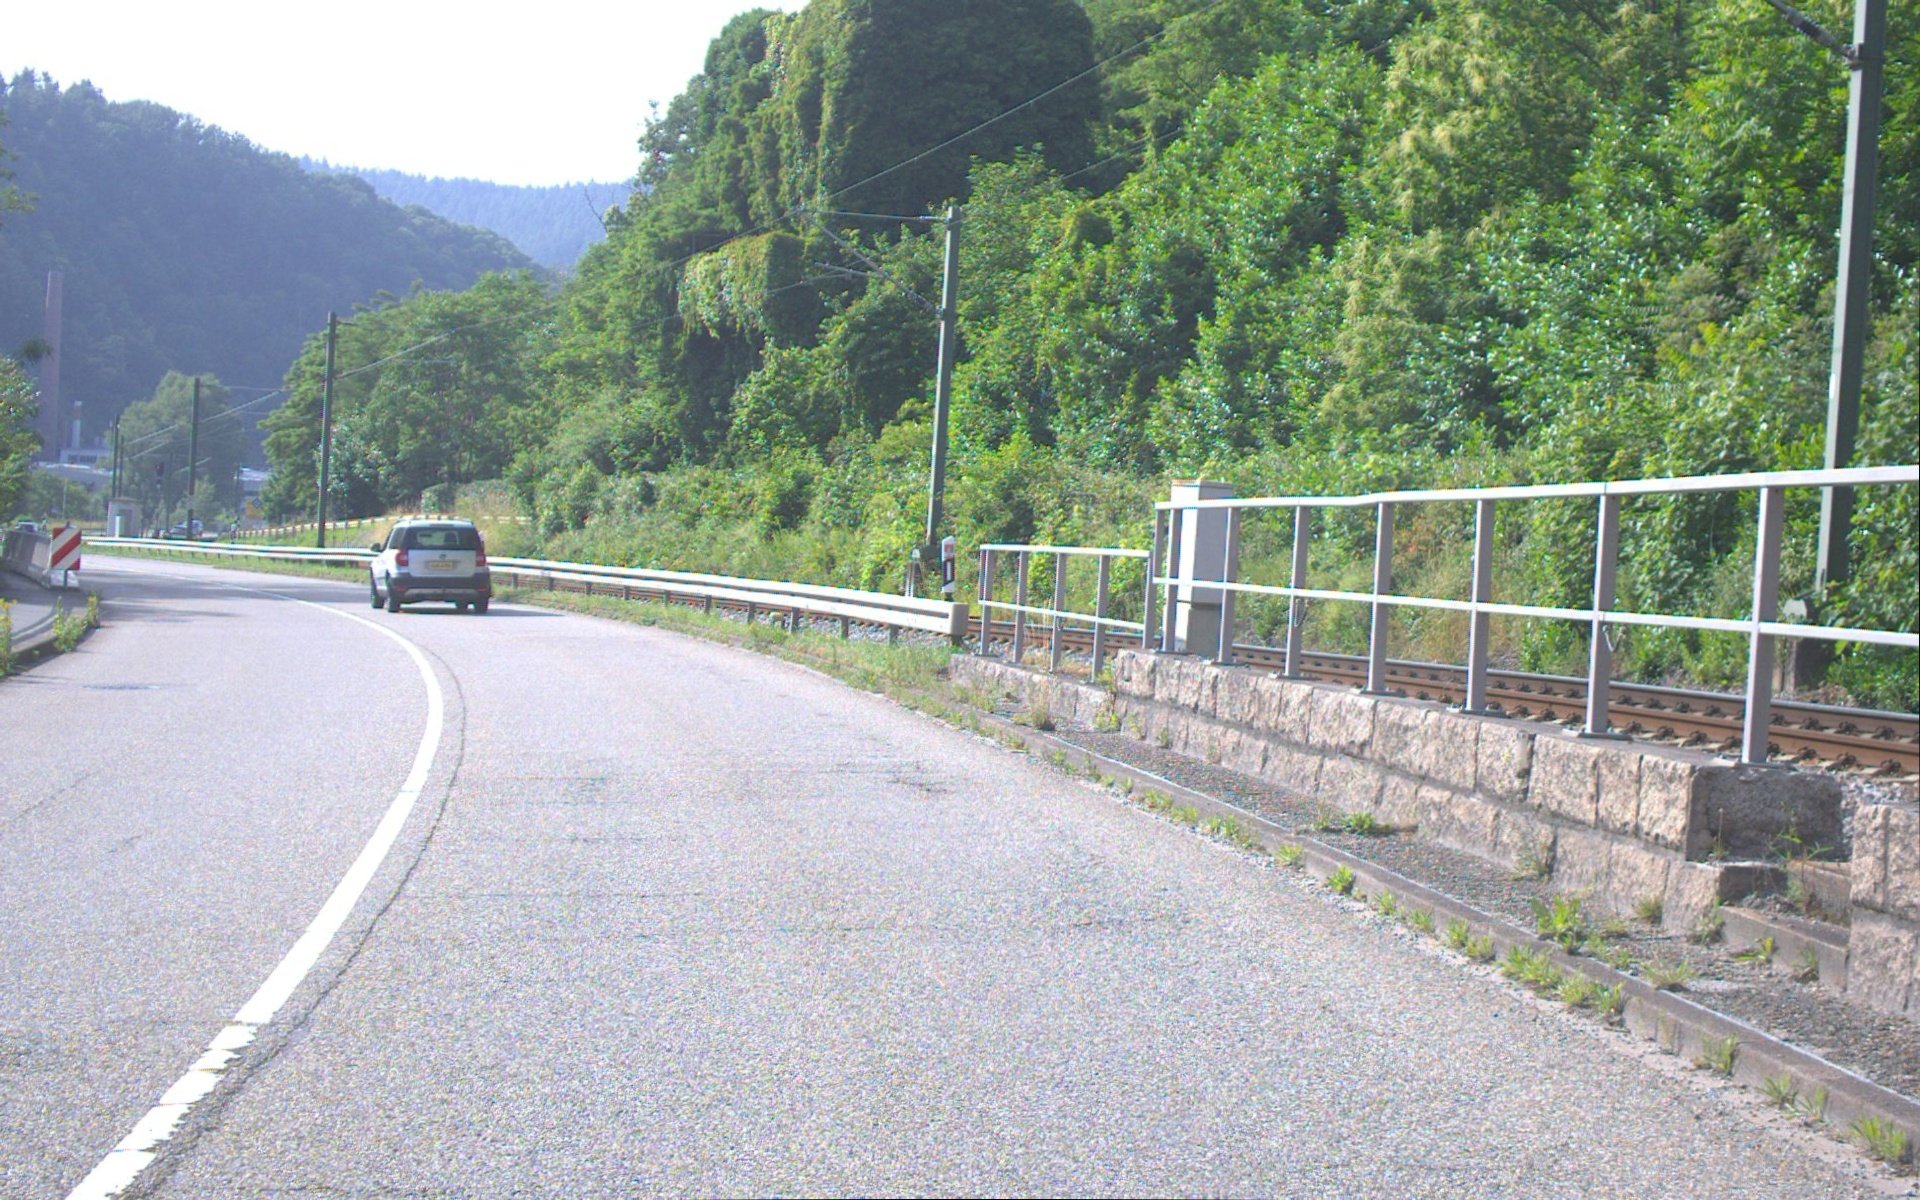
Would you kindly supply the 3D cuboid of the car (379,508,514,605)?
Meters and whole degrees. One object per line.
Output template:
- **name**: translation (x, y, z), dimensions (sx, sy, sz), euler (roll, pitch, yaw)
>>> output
- **car**: translation (-9.210, -0.794, 61.430), dimensions (1.872, 1.650, 4.001), euler (1, 1, -16)
